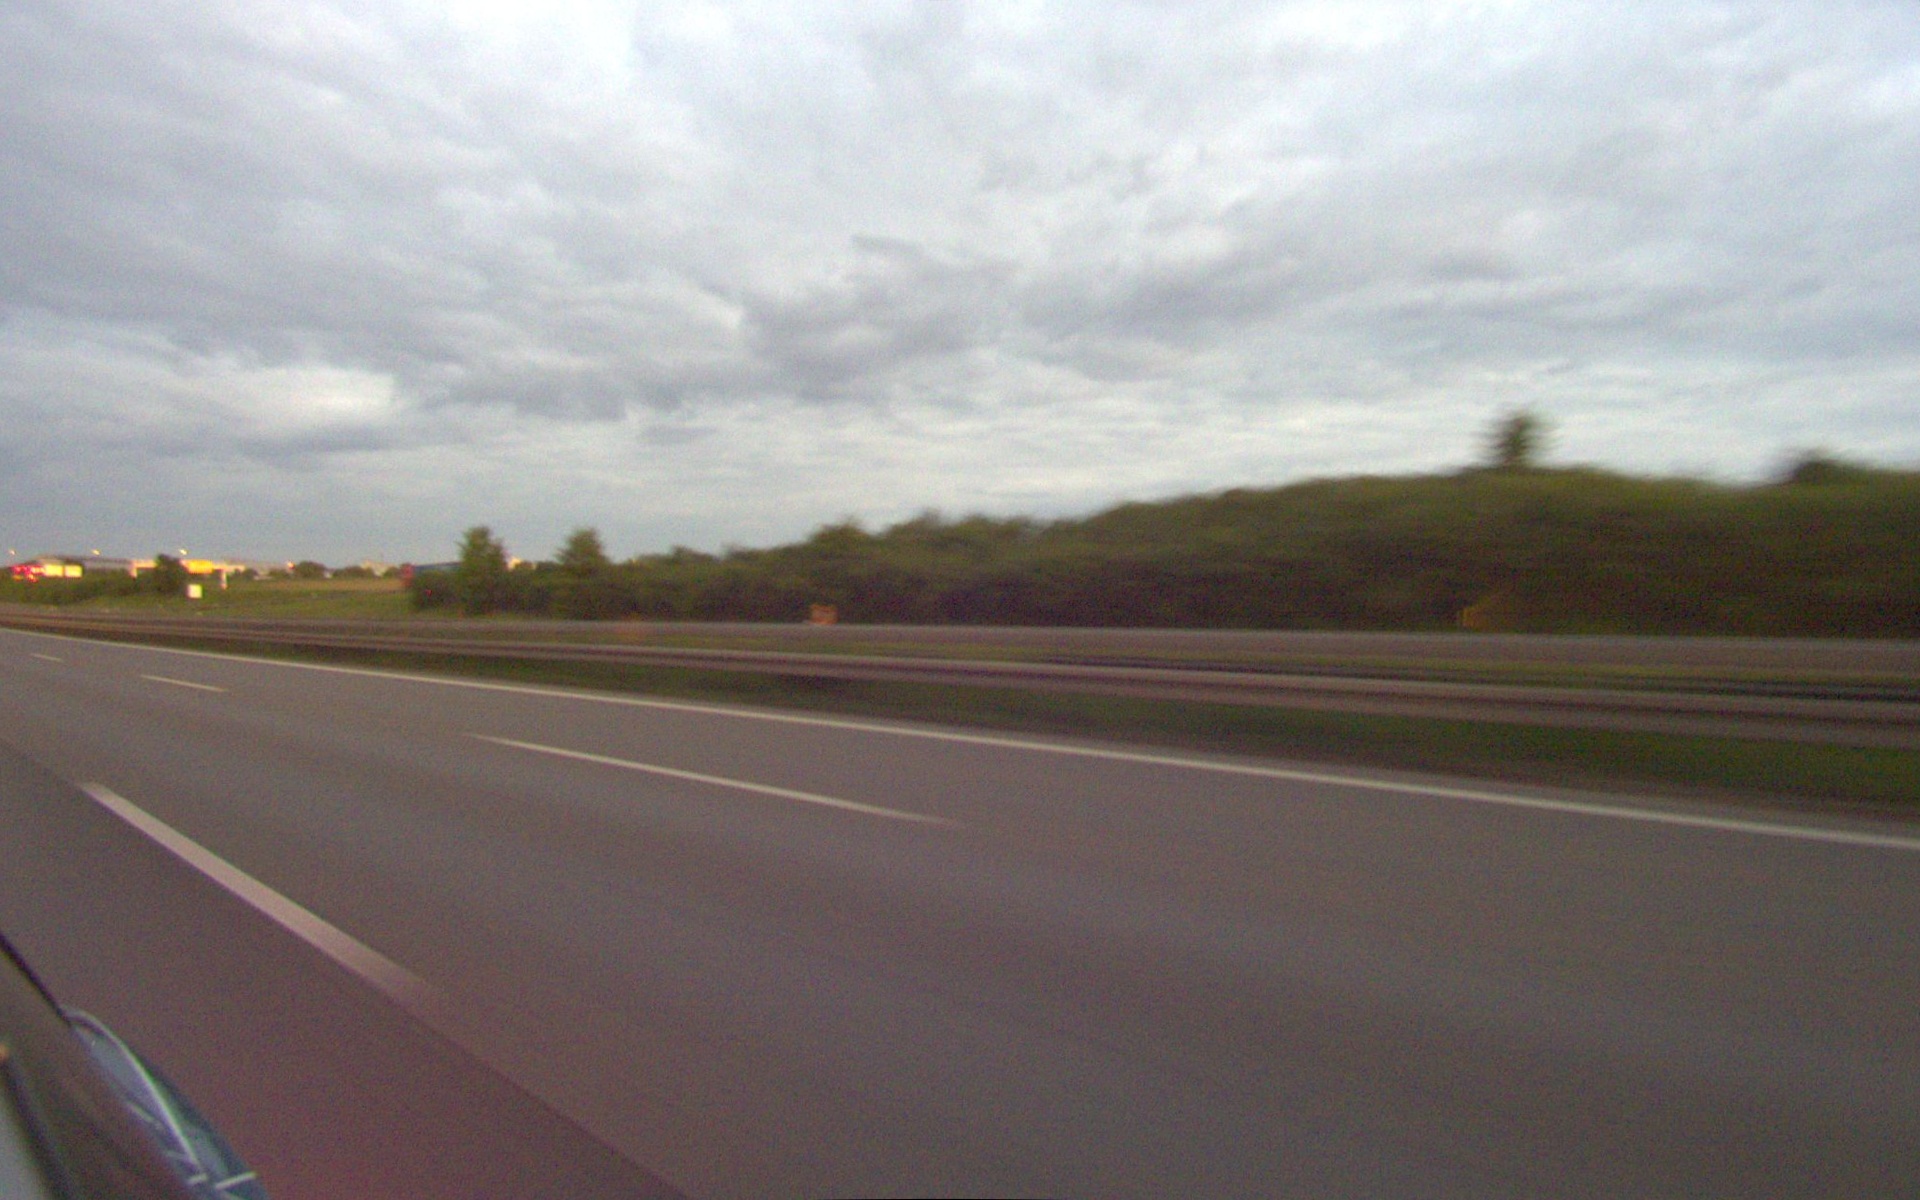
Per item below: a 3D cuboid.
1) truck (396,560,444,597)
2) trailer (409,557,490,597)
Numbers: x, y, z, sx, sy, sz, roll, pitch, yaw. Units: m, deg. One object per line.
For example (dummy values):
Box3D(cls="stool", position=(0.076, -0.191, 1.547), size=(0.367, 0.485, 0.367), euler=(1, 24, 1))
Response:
Box3D(cls="truck", position=(-62.176, -2.396, 116.513), size=(5.466, 4.102, 2.667), euler=(-1, 0, 36))
Box3D(cls="trailer", position=(-56.971, -2.460, 112.747), size=(12.465, 4.102, 2.667), euler=(-1, 0, 36))
